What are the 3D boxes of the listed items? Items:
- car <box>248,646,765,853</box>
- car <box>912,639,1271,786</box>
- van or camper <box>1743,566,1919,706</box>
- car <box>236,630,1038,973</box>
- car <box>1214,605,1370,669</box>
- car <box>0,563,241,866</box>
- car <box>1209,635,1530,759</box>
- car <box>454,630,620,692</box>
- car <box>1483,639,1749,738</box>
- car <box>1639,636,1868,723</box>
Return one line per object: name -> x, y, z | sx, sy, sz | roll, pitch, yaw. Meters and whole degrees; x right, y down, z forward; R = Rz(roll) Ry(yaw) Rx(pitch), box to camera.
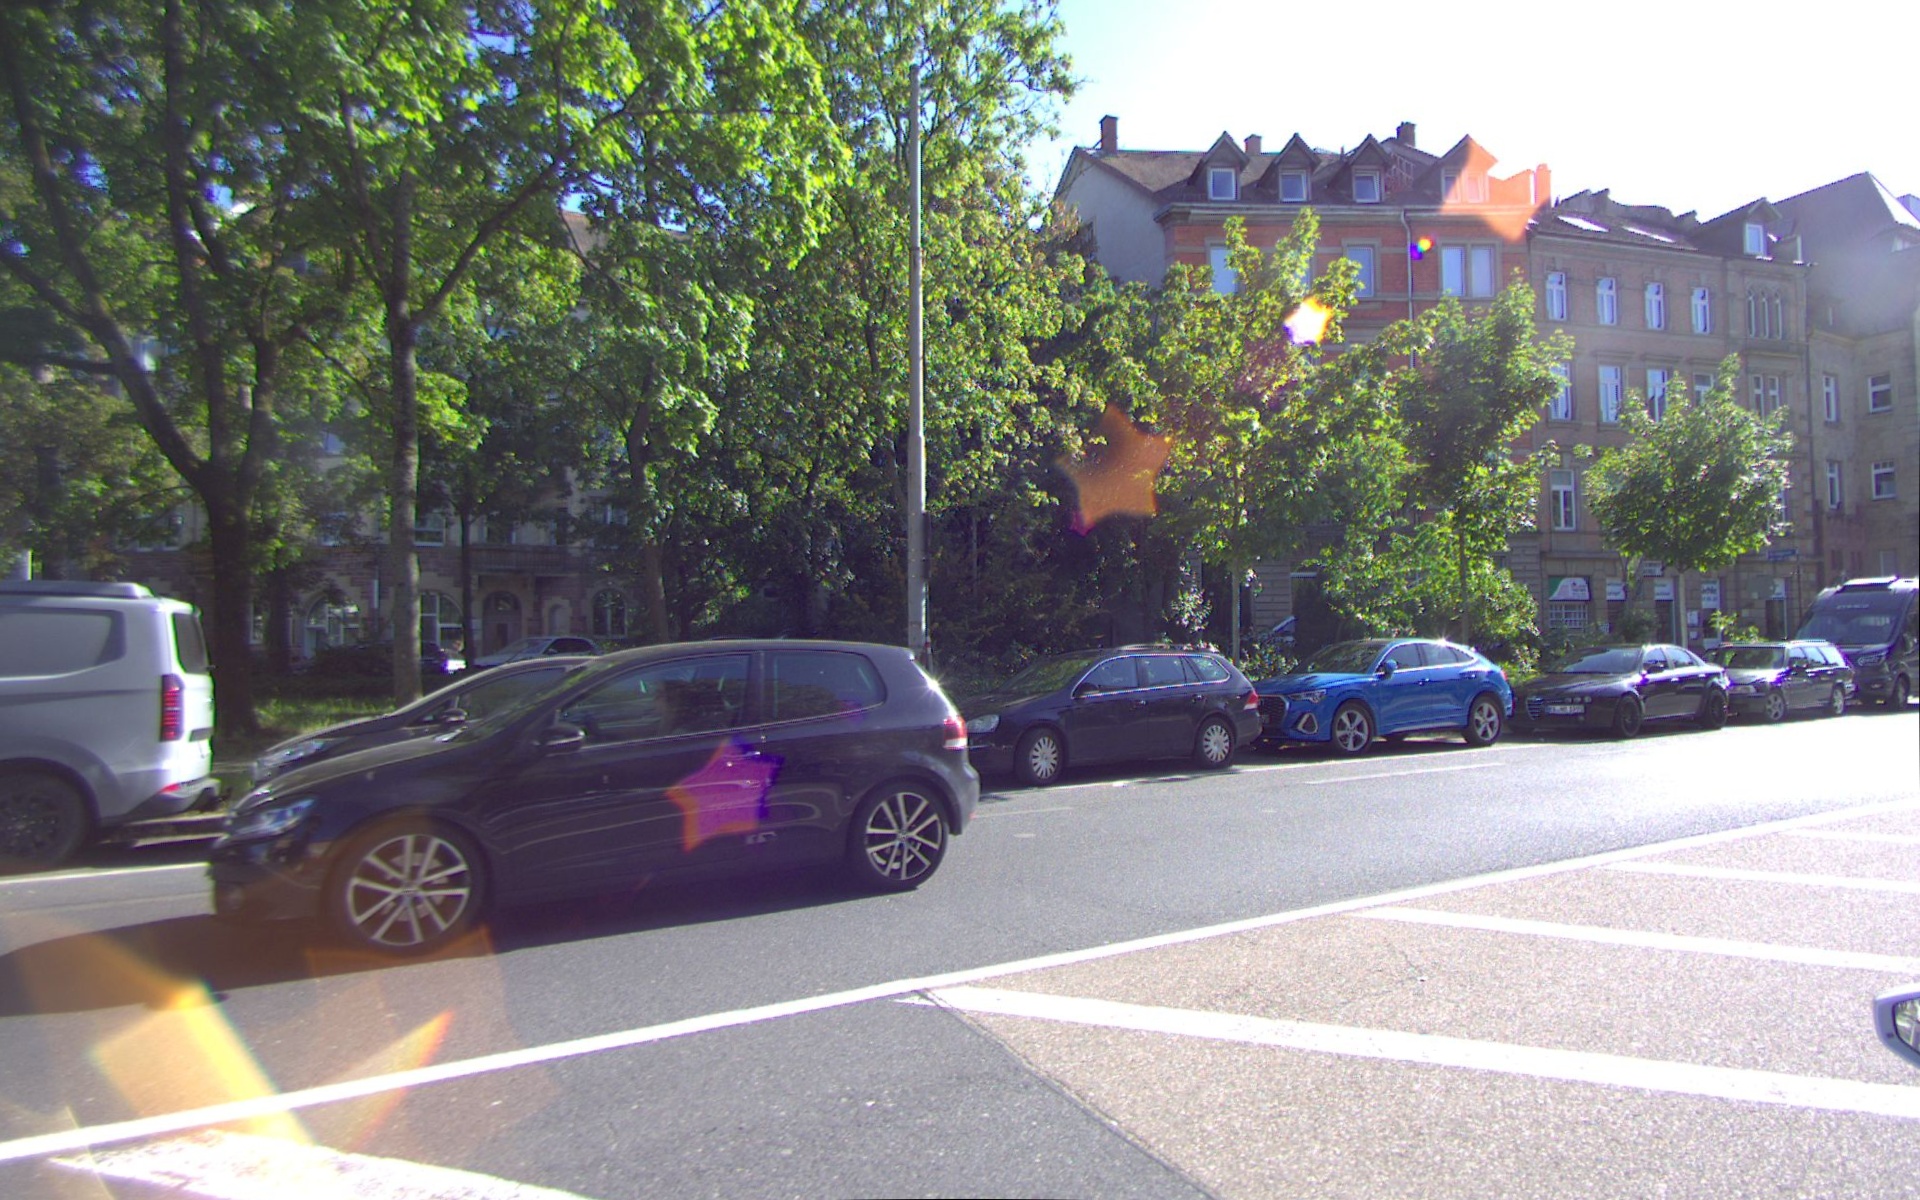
car -> -3.856, 1.199, 9.009 | 3.909, 1.521, 1.459 | 2, -4, -28
car -> 1.648, 1.274, 12.073 | 4.224, 1.501, 1.583 | 2, -5, -32
van or camper -> 20.144, 0.792, 22.203 | 6.012, 2.775, 2.208 | 1, -3, -29
car -> -1.676, 0.930, 6.006 | 4.082, 1.469, 1.586 | 1, -3, -28
car -> 10.601, 1.226, 32.280 | 4.366, 1.938, 1.865 | 1, -4, -4
car -> -8.106, 0.846, 7.027 | 4.821, 2.062, 1.974 | 1, -6, -32
car -> 5.989, 1.338, 14.622 | 4.499, 1.557, 1.775 | 1, -4, -27
car -> -10.977, 1.633, 26.390 | 1.565, 1.446, 4.181 | -4, -5, 21
car -> 10.863, 1.401, 16.593 | 4.350, 1.431, 1.774 | 1, -4, -28
car -> 15.129, 1.468, 19.104 | 4.605, 1.475, 1.687 | 1, -4, -29
